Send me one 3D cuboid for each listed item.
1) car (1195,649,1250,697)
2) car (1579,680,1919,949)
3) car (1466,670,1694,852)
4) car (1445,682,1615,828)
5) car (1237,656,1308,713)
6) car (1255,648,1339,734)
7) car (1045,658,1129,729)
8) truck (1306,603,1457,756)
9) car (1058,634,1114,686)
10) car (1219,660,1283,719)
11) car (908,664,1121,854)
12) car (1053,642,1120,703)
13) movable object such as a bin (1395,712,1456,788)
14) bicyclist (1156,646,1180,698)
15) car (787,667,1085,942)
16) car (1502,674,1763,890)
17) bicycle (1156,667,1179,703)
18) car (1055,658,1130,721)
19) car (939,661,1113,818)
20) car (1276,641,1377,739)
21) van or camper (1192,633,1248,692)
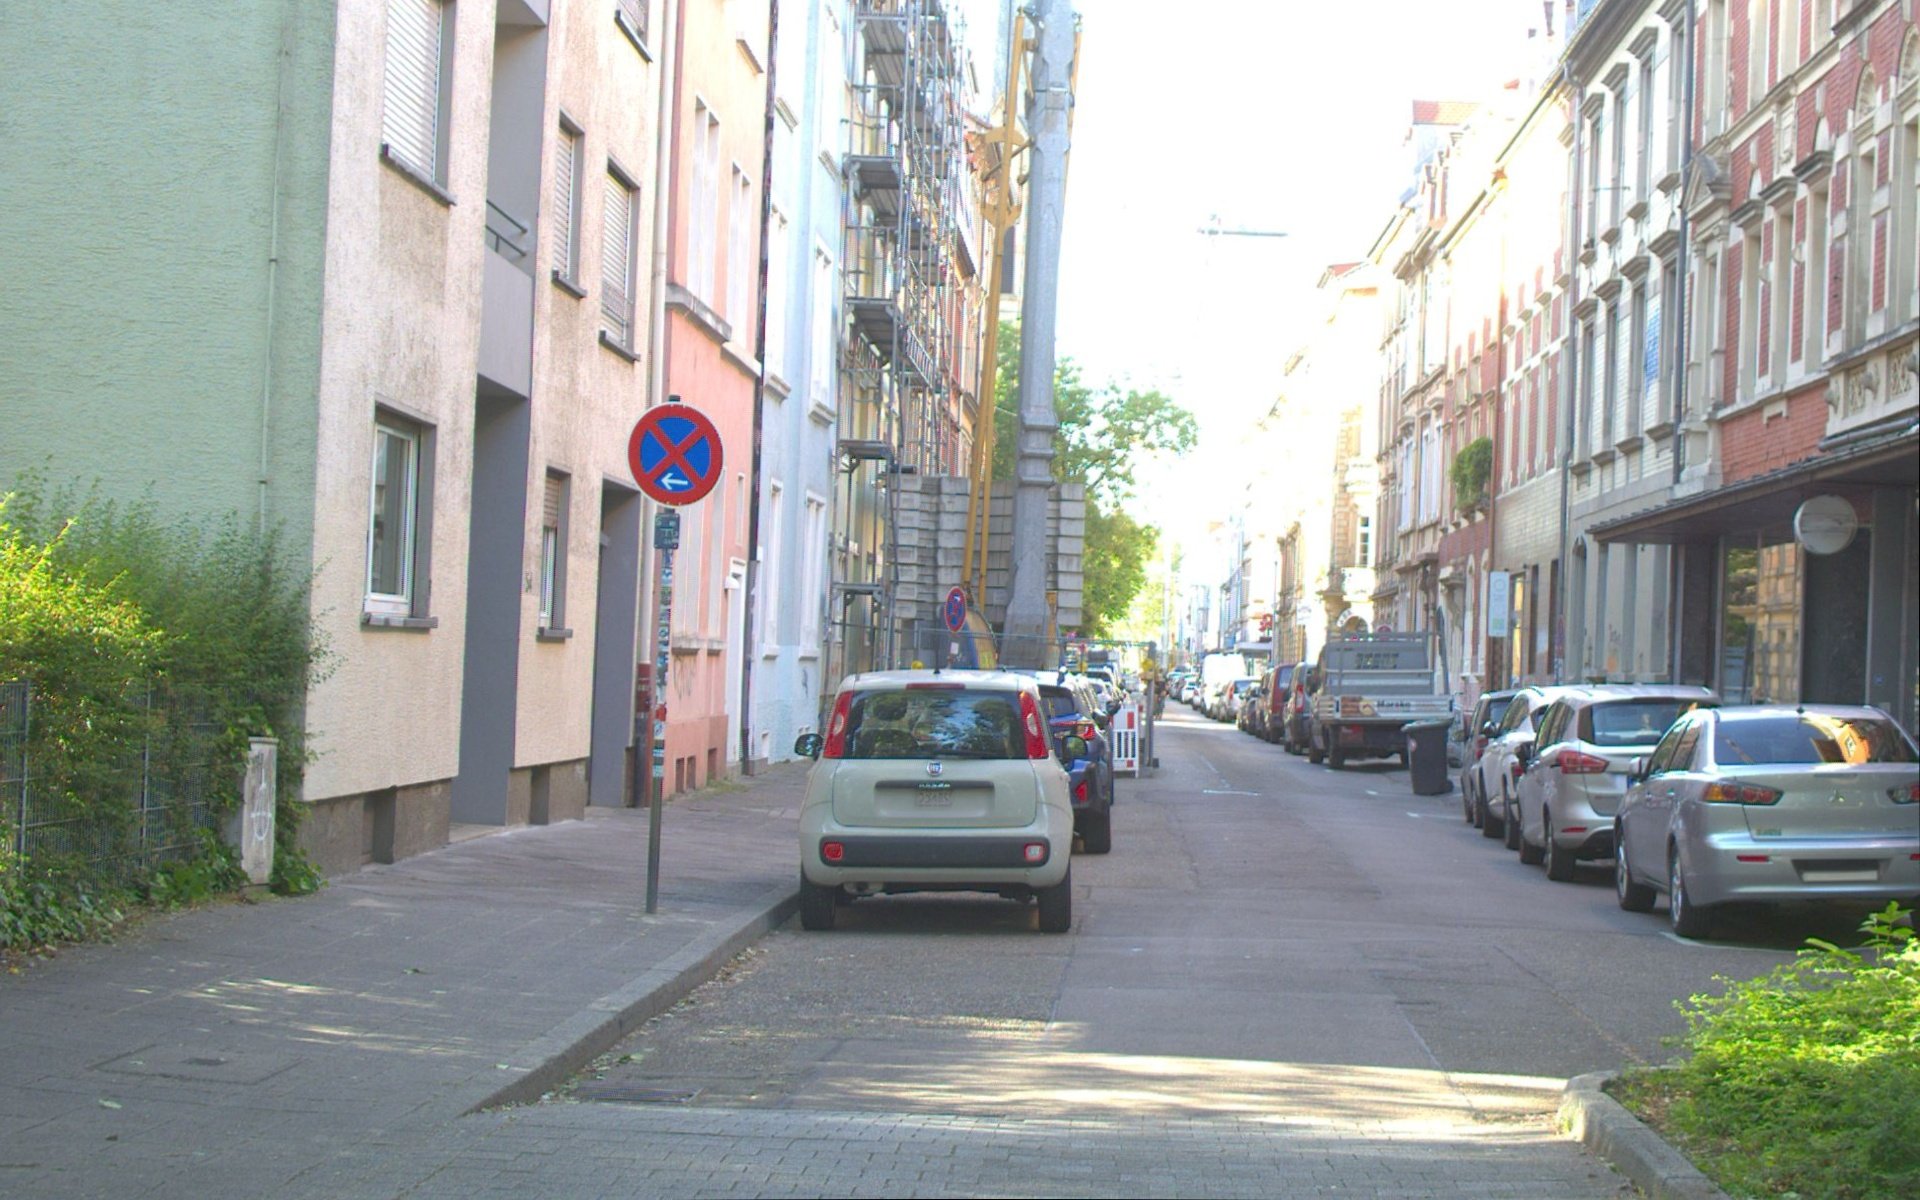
[{"bbox_3d":[10.484,2.900,137.421,1.993,1.842,4.000,1,-1,2],"label":"car"},{"bbox_3d":[5.382,1.360,23.092,1.721,1.557,4.398,2,-1,2],"label":"car"},{"bbox_3d":[6.197,1.568,34.767,1.747,1.670,4.339,2,-1,4],"label":"car"},{"bbox_3d":[6.594,1.763,40.073,1.597,1.555,3.813,2,-1,5],"label":"car"},{"bbox_3d":[8.937,2.416,98.531,1.675,1.566,3.869,2,-1,1],"label":"car"},{"bbox_3d":[8.314,2.242,85.061,1.675,2.024,3.869,2,-1,1],"label":"car"},{"bbox_3d":[2.736,2.017,74.521,1.675,1.440,3.869,2,-1,1],"label":"car"},{"bbox_3d":[7.558,1.410,62.086,2.190,2.598,5.233,1,-1,2],"label":"truck"},{"bbox_3d":[4.676,2.230,127.825,1.993,1.842,4.000,1,-1,2],"label":"car"},{"bbox_3d":[10.399,3.175,122.910,1.993,2.007,4.000,2,-1,2],"label":"car"},{"bbox_3d":[0.469,1.348,30.468,1.729,1.534,4.377,1,-1,1],"label":"car"},{"bbox_3d":[3.428,1.964,93.502,1.675,1.566,3.869,2,-1,1],"label":"car"},{"bbox_3d":[6.743,2.171,49.839,0.795,1.052,0.660,2,-1,3],"label":"movable object such as a bin"},{"bbox_3d":[7.253,2.498,119.791,0.730,1.755,0.835,3,0,3],"label":"bicyclist"},{"bbox_3d":[-0.118,1.207,21.623,1.675,1.534,3.869,1,-1,1],"label":"car"},{"bbox_3d":[5.647,1.484,29.239,1.640,1.650,3.868,2,-1,4],"label":"car"},{"bbox_3d":[7.220,2.955,119.834,0.724,1.182,2.042,3,0,3],"label":"bicycle"},{"bbox_3d":[3.191,2.152,83.323,1.675,1.440,3.869,2,-1,1],"label":"car"},{"bbox_3d":[0.753,1.426,36.357,1.675,1.507,4.414,2,-1,3],"label":"car"},{"bbox_3d":[7.703,1.893,72.588,1.675,1.956,4.108,2,-1,1],"label":"car"},{"bbox_3d":[11.454,2.748,151.523,1.993,2.500,4.202,1,-1,-1],"label":"van or camper"}]
